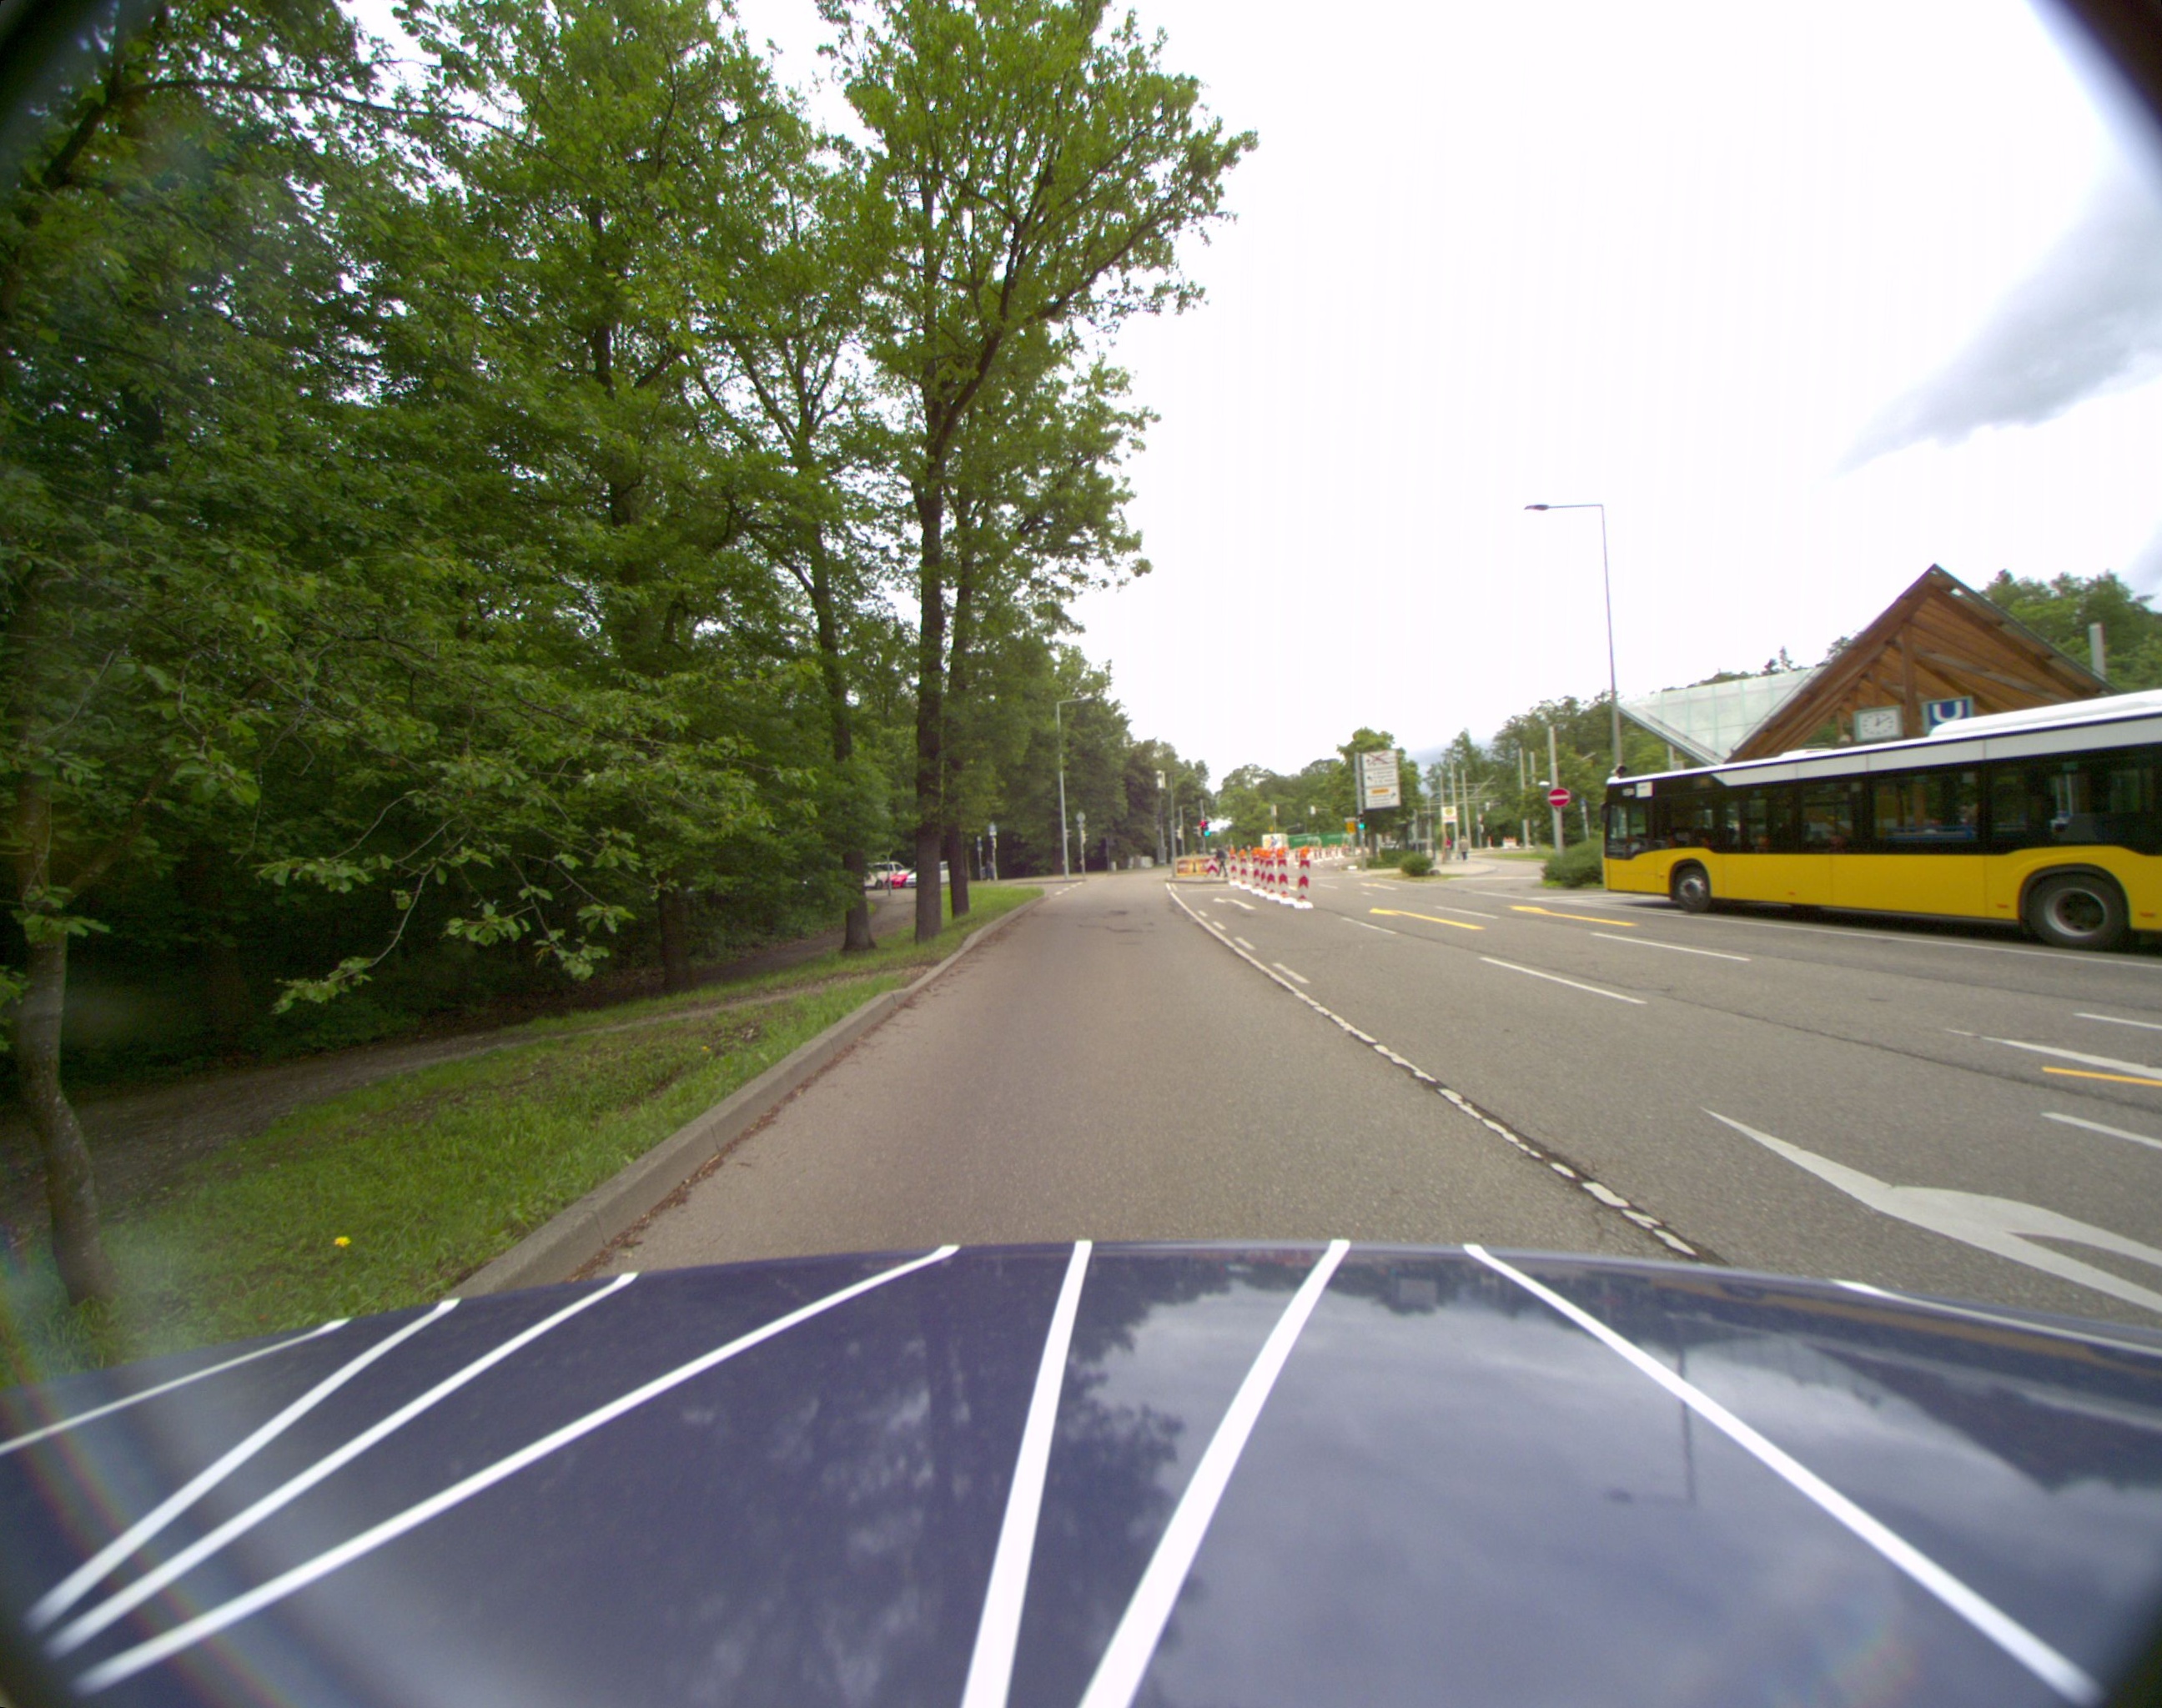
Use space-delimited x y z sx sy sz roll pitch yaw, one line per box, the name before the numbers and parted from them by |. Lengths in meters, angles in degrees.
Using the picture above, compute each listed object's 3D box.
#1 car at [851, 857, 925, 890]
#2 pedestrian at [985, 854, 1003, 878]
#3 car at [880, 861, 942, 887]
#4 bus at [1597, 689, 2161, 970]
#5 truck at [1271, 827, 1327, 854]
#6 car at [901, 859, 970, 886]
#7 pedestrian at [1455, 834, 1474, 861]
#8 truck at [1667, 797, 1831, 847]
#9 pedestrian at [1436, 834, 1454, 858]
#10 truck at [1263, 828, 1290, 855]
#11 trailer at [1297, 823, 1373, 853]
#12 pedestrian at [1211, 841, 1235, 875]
car | -14.151 1.385 56.053 2.058 1.946 5.191 -4 1 32
pedestrian | -6.159 0.863 53.900 1.094 1.666 0.910 -3 1 -15
car | -12.171 1.409 54.487 1.890 1.543 4.007 -4 0 35
bus | 13.488 -0.343 12.892 2.906 3.109 9.759 -2 0 1
truck | 36.428 -2.153 127.466 3.793 3.858 8.755 -4 0 -28
car | -10.085 1.282 52.967 1.995 1.543 4.429 -4 -1 35
pedestrian | 22.420 -0.373 44.360 0.873 1.516 0.769 -4 0 29
truck | 36.740 -1.698 42.115 2.609 2.157 6.295 -4 0 -17
pedestrian | 24.051 -0.527 50.194 0.791 1.542 0.776 -4 0 12
truck | 24.977 -1.561 96.942 2.631 3.219 6.215 -1 1 20
trailer | 40.064 -2.486 120.538 3.793 3.858 11.846 -4 0 -28
pedestrian | 7.837 0.249 41.945 0.994 1.798 0.766 -4 0 -7
